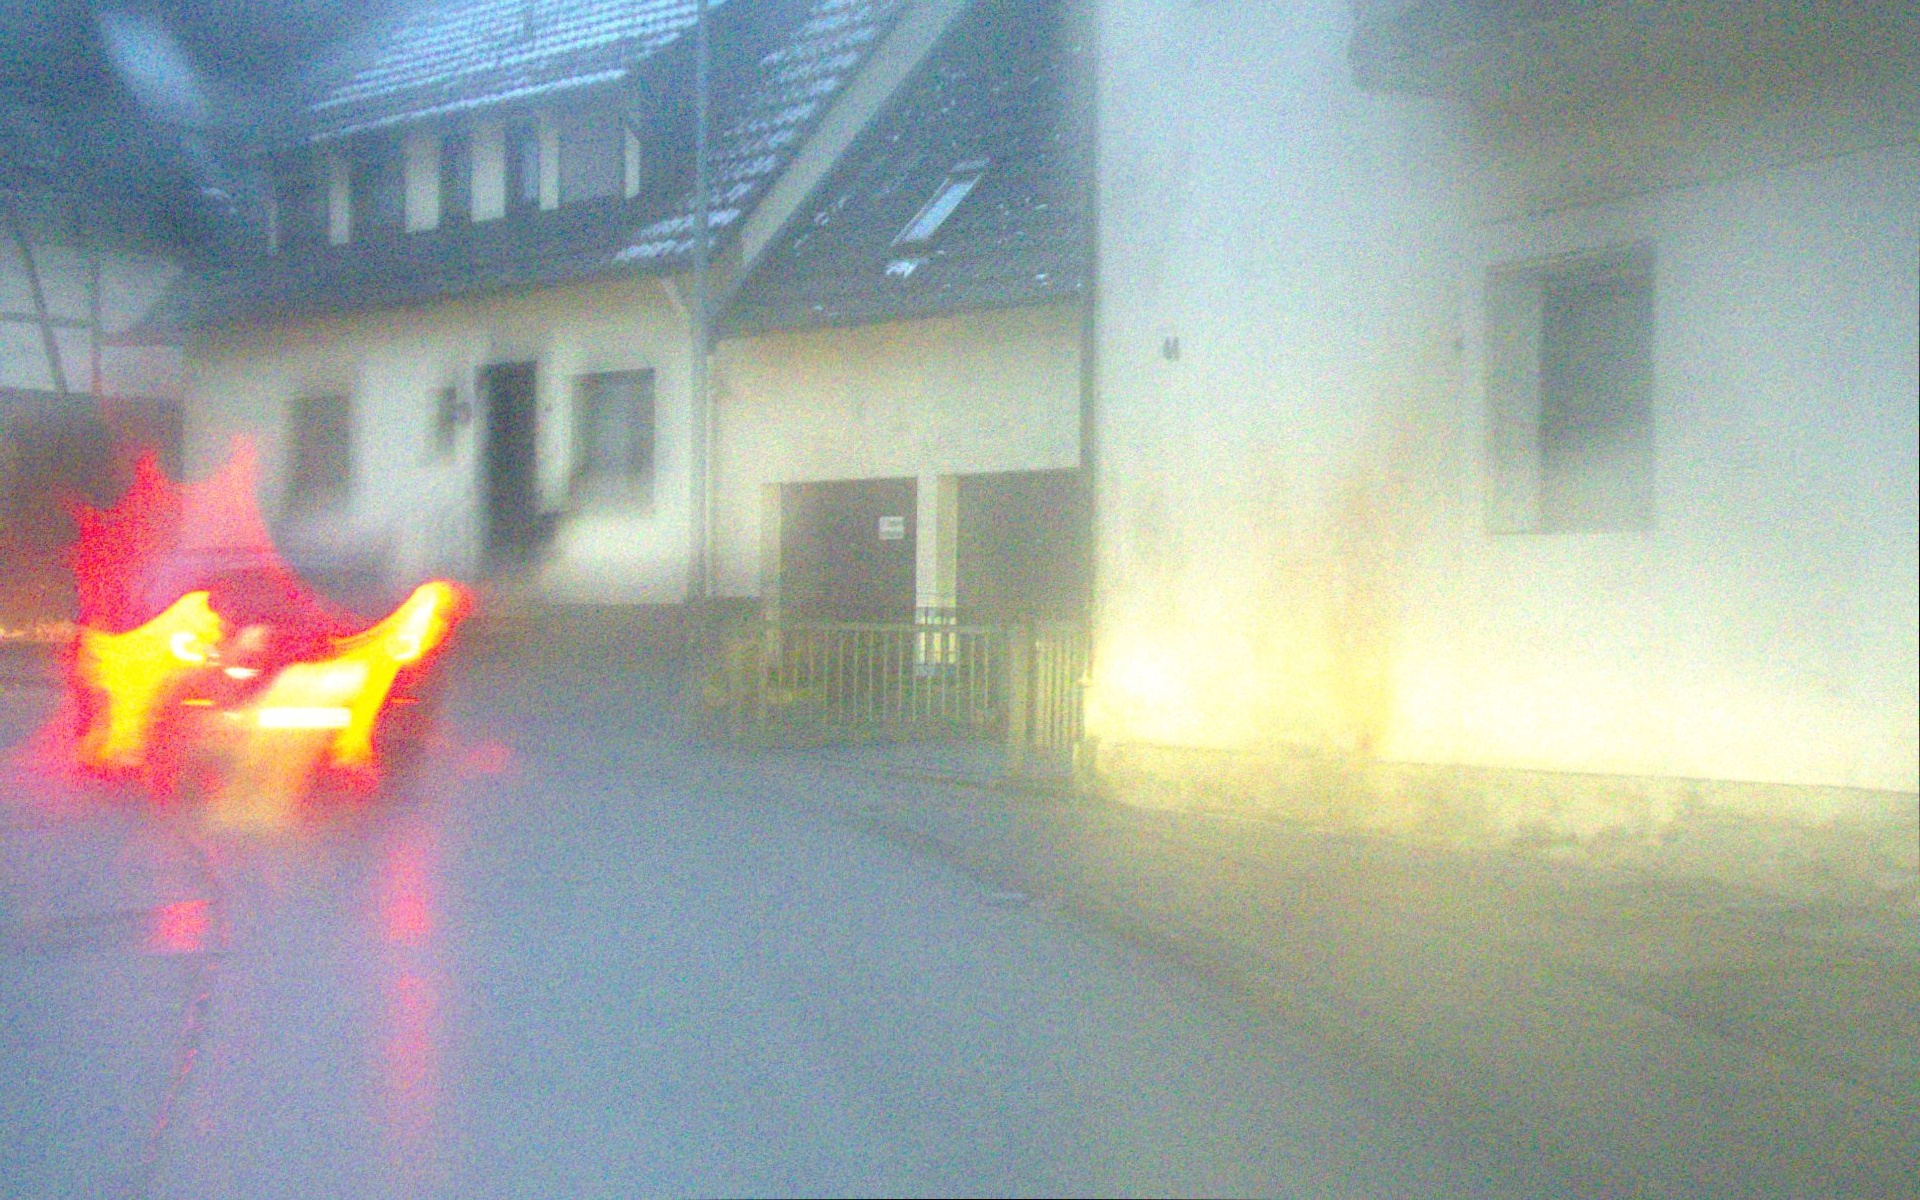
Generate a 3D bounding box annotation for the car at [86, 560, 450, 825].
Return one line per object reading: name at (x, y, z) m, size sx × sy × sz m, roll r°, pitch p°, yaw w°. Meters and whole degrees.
car at (-4.397, 0.522, 21.479) m, size 1.545 × 1.461 × 3.699 m, roll 2°, pitch 0°, yaw -22°
